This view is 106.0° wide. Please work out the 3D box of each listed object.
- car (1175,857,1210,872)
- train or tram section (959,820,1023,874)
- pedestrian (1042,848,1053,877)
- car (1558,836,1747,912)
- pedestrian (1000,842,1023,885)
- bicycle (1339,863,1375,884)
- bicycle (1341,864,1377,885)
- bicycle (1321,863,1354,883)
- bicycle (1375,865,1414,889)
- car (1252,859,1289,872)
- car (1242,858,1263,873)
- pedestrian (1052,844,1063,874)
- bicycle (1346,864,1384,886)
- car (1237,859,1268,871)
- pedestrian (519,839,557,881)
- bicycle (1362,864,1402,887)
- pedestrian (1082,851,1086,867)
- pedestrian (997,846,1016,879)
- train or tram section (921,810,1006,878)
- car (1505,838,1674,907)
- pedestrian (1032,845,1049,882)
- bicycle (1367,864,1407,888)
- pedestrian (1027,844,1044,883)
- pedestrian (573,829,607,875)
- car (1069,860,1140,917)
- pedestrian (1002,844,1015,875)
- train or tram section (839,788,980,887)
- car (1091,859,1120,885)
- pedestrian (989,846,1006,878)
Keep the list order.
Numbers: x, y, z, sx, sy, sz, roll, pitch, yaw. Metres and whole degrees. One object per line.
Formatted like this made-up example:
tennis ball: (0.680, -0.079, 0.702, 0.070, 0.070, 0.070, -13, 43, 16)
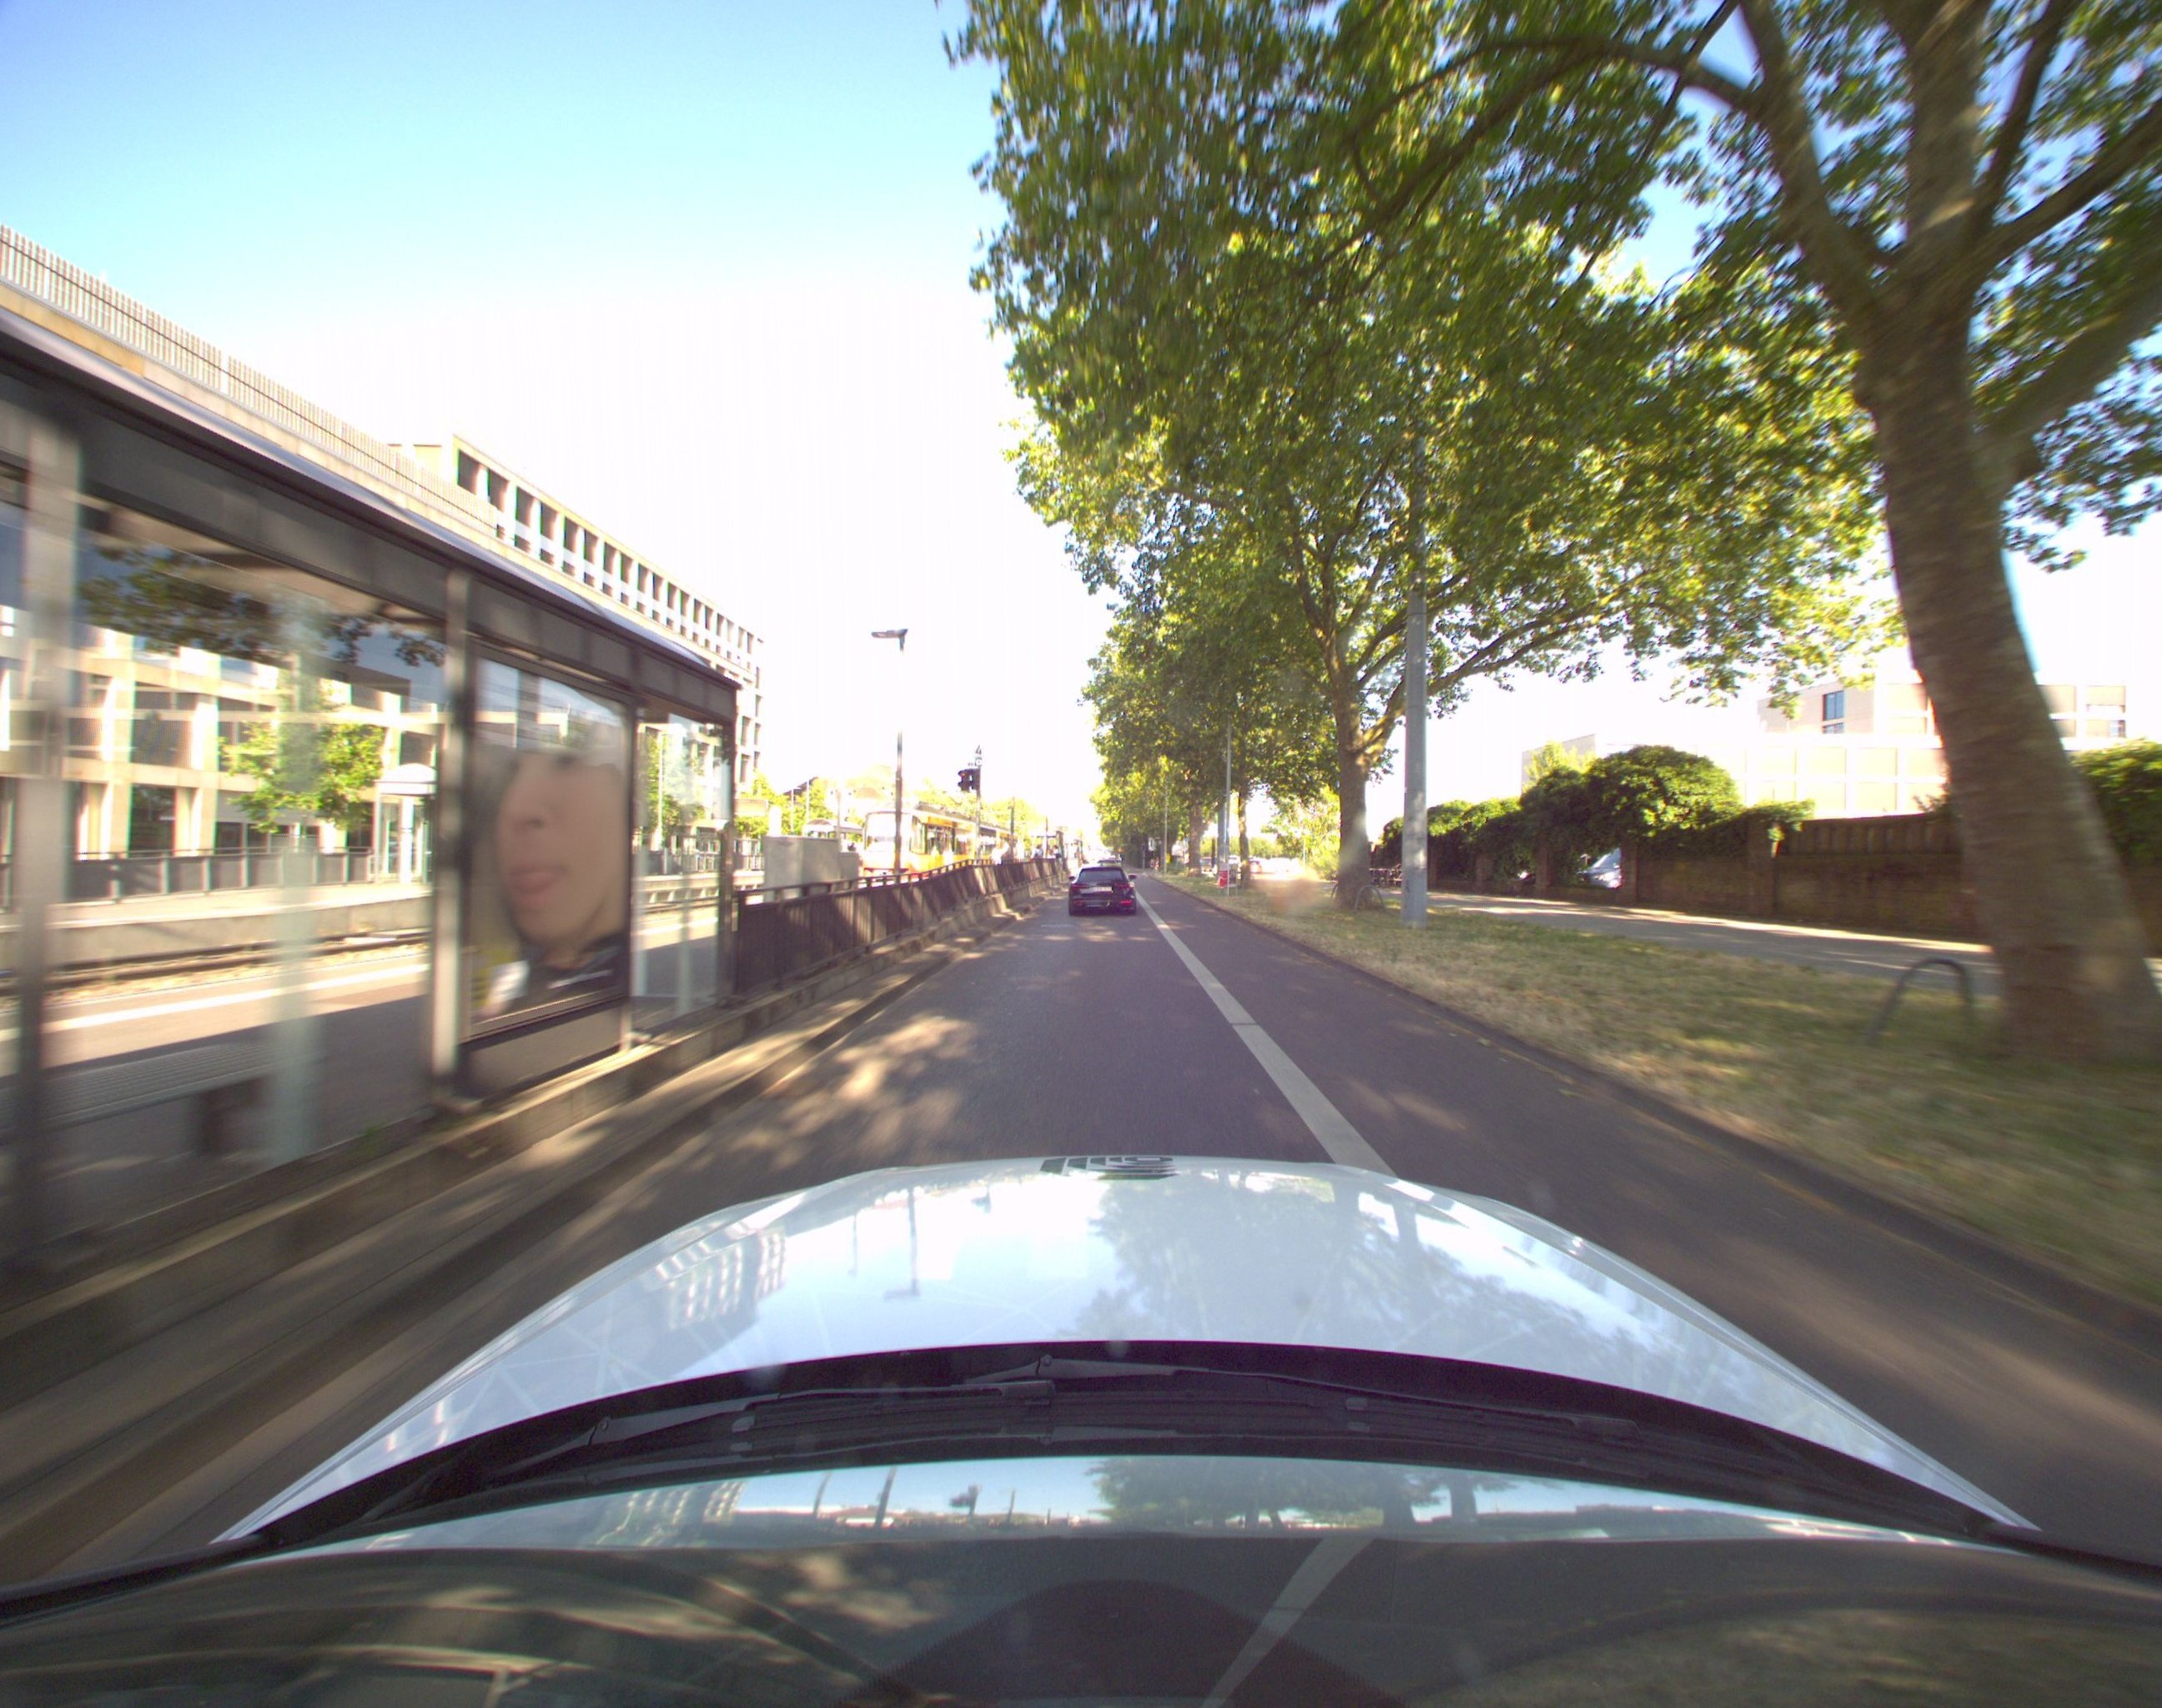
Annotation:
car: (13.208, 1.232, 96.574, 3.971, 1.764, 1.834, 1, -1, 2)
train or tram section: (-6.849, -0.453, 64.136, 3.296, 3.829, 11.848, 1, 0, 2)
pedestrian: (-2.067, 0.548, 50.449, 0.607, 1.784, 0.681, 1, -1, 2)
car: (20.663, 0.704, 29.625, 5.441, 2.490, 2.000, 2, -1, 1)
pedestrian: (-2.549, 0.329, 29.870, 0.610, 1.549, 0.727, 1, -1, 12)
bicycle: (15.026, 1.083, 44.337, 1.767, 1.120, 0.439, 0, -1, 0)
bicycle: (14.764, 1.084, 43.296, 1.767, 1.120, 0.439, 0, -1, 0)
bicycle: (14.679, 1.099, 46.596, 1.770, 1.120, 0.438, 0, -1, -6)
bicycle: (14.647, 1.060, 38.059, 1.681, 1.120, 0.439, 0, -1, 0)
car: (24.289, 1.458, 104.286, 4.436, 1.658, 1.921, 1, 0, 6)
car: (18.379, 1.238, 87.288, 1.608, 1.515, 3.805, 1, 0, 2)
pedestrian: (-1.375, 0.292, 48.078, 0.609, 1.784, 0.614, 1, -1, 2)
bicycle: (14.717, 1.086, 42.210, 1.767, 1.120, 0.439, 0, -1, 0)
car: (27.197, 1.742, 129.234, 4.341, 1.816, 1.998, 1, -1, -2)
pedestrian: (-16.461, 0.175, 24.692, 0.611, 1.260, 0.725, 1, -1, 6)
bicycle: (14.802, 1.061, 40.074, 1.767, 1.120, 0.439, 0, -1, 0)
pedestrian: (0.326, 0.529, 84.981, 0.410, 1.717, 0.666, 1, -1, 2)
pedestrian: (-4.133, 0.454, 44.923, 0.799, 1.784, 0.642, 2, -1, -38)
train or tram section: (-7.225, -0.523, 52.262, 3.296, 3.829, 11.848, 1, 0, 2)
car: (20.150, 0.721, 32.456, 5.441, 2.490, 2.000, 2, -1, 1)
pedestrian: (-1.809, 0.432, 36.376, 0.613, 1.642, 0.610, 1, -1, -18)
bicycle: (14.687, 1.066, 39.126, 1.767, 1.120, 0.439, 0, -1, 0)
pedestrian: (-1.986, 0.428, 35.613, 0.609, 1.668, 0.614, 1, -1, 3)
pedestrian: (-16.447, -0.058, 27.286, 0.610, 1.527, 0.726, 1, -1, 10)
car: (0.622, 0.938, 23.387, 1.872, 1.457, 3.356, -1, 0, 0)
pedestrian: (-4.220, 0.312, 47.459, 0.609, 1.784, 0.775, 1, -1, 2)
train or tram section: (-7.626, -0.609, 39.144, 3.296, 3.829, 14.224, 1, 0, 2)
car: (1.579, 1.158, 53.122, 1.757, 1.619, 3.999, 1, 0, 0)
pedestrian: (-4.681, 0.466, 45.694, 0.790, 1.784, 0.626, 1, -1, 2)
